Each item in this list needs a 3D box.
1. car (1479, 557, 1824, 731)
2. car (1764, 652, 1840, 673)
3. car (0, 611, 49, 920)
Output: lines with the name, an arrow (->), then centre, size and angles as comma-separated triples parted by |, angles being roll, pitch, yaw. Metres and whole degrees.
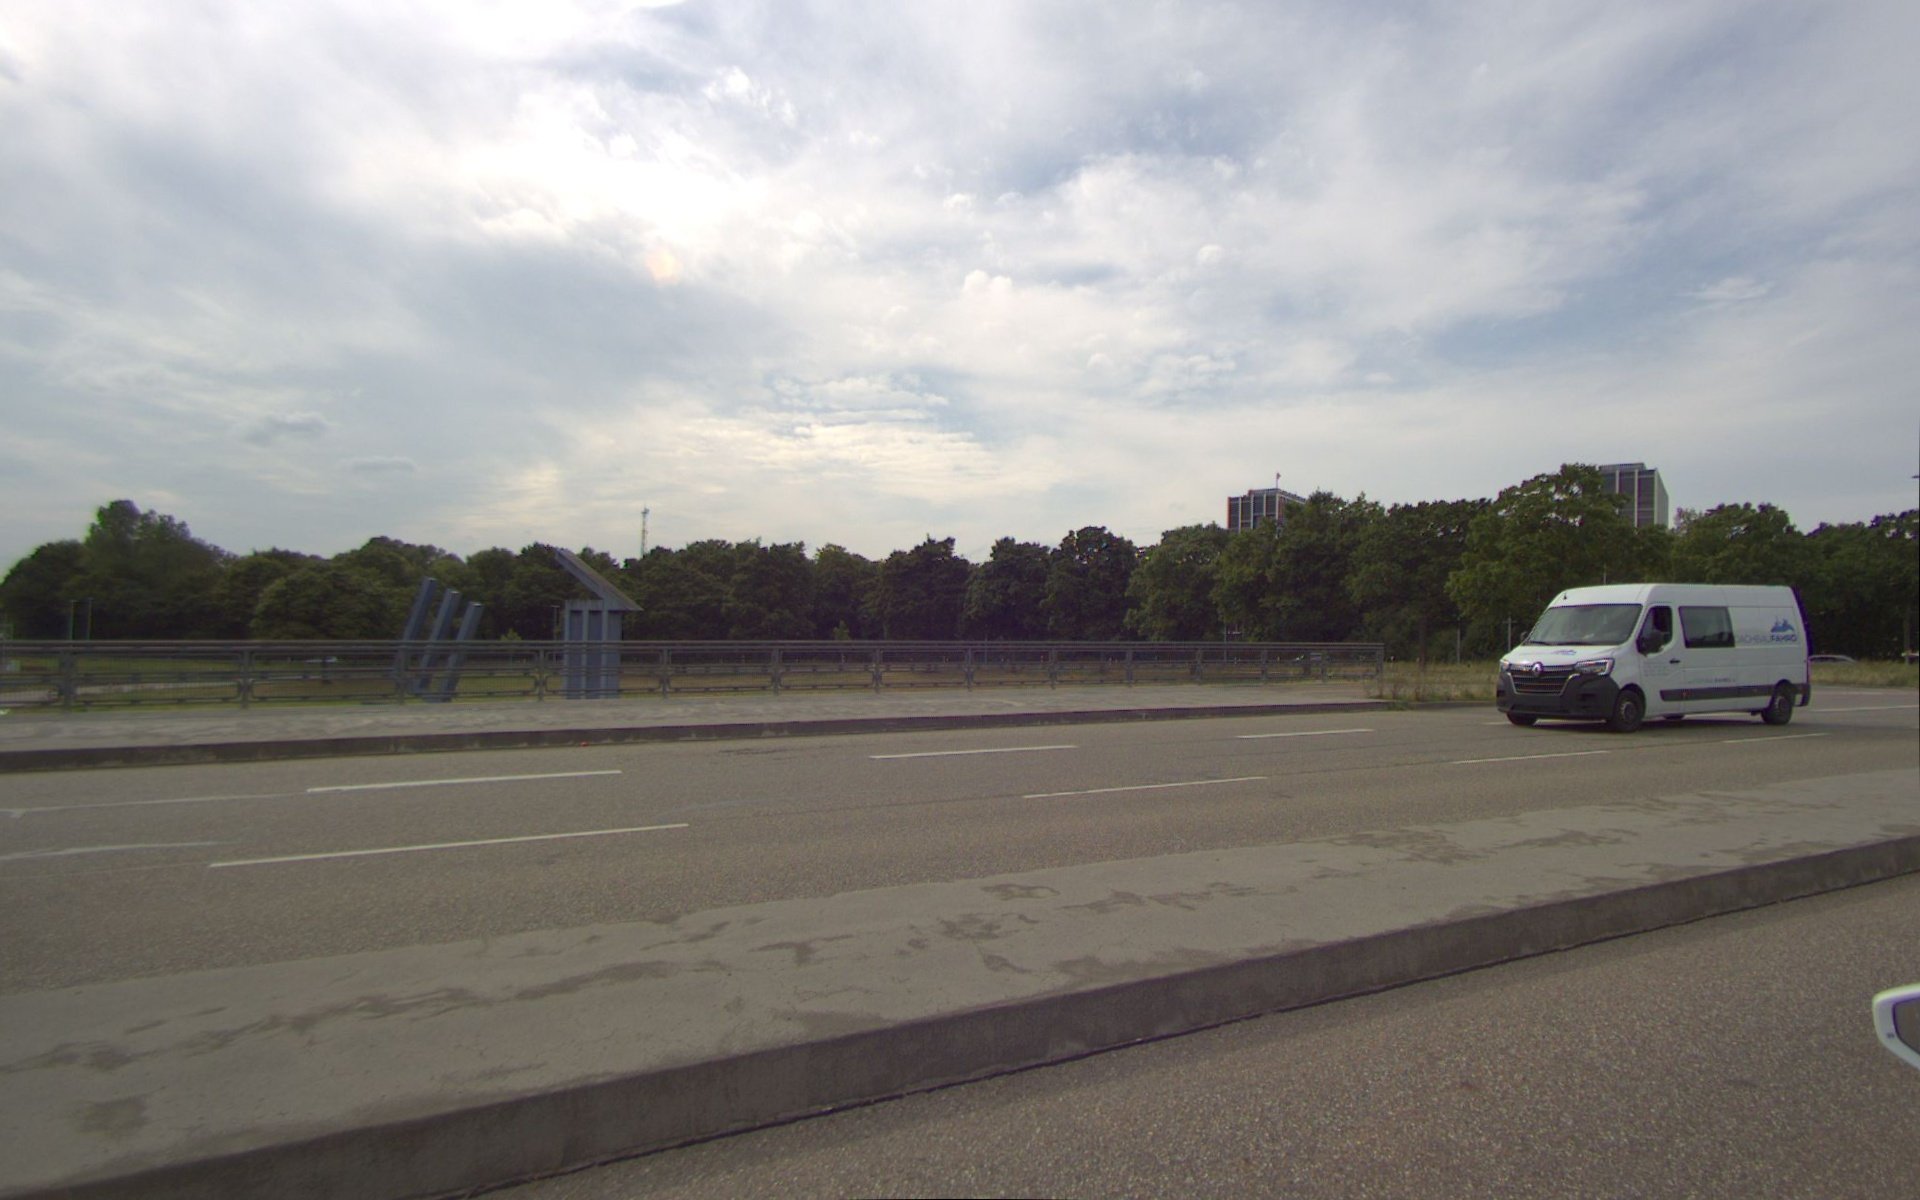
car -> 12.263, 0.764, 17.728 | 6.312, 2.677, 2.048 | 1, -3, -25
car -> 59.508, 4.401, 71.062 | 3.807, 1.414, 1.573 | -1, -2, 27
car -> -6.646, 0.783, 3.571 | 4.715, 1.500, 1.732 | 0, -2, -28
